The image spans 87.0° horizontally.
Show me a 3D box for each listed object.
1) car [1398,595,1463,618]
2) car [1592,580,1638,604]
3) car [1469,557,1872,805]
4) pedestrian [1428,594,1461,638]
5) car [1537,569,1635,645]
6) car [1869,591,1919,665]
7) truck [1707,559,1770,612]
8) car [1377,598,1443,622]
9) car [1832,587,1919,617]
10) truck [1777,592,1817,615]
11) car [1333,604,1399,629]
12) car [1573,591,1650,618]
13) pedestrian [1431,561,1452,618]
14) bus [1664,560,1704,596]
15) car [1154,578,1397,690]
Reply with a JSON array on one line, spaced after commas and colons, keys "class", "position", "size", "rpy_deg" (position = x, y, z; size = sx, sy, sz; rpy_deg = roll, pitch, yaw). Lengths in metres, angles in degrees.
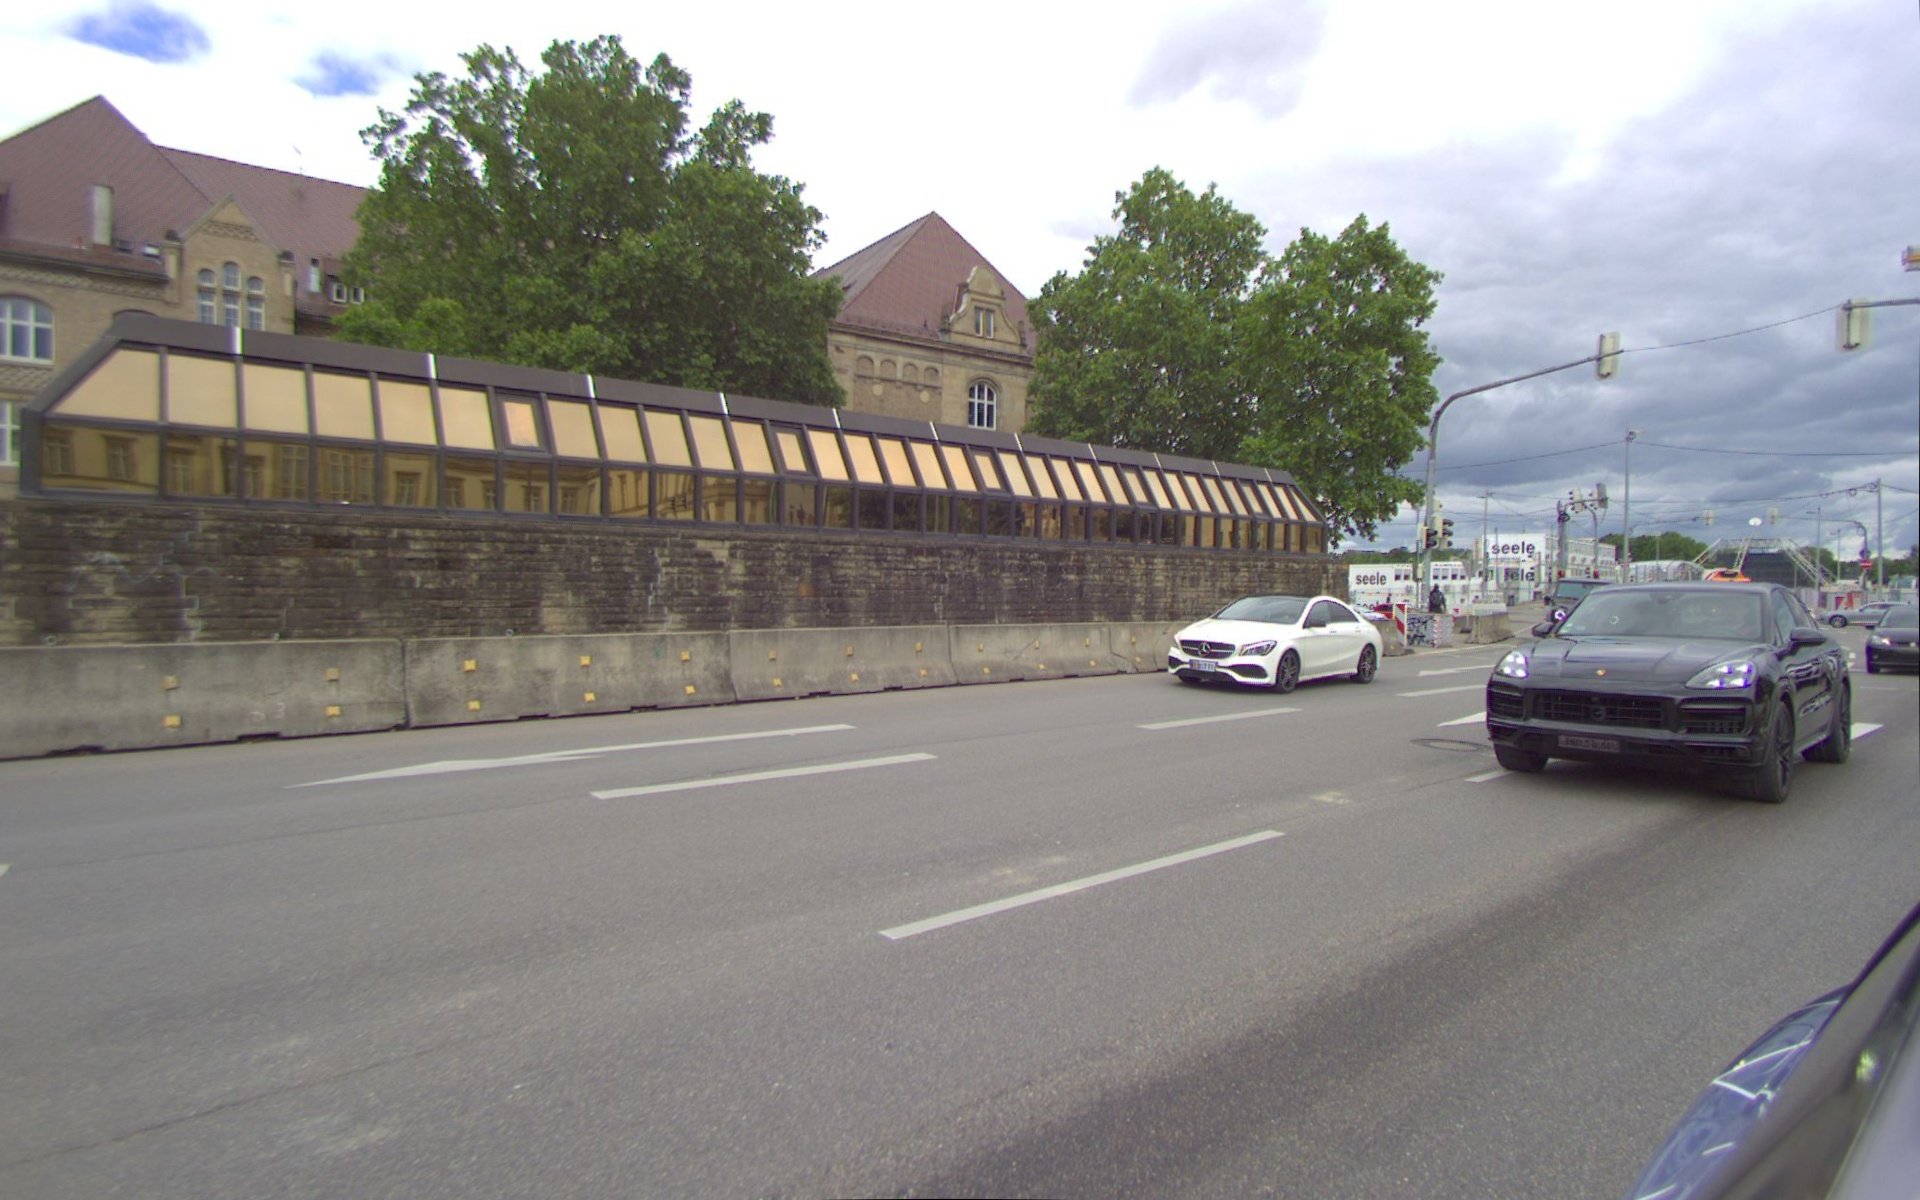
[{"class": "car", "position": [30.746, 0.414, 66.180], "size": [1.663, 1.453, 3.445], "rpy_deg": [-2, 1, -37]}, {"class": "car", "position": [58.743, -0.677, 90.763], "size": [4.085, 2.039, 2.000], "rpy_deg": [1, 0, -35]}, {"class": "car", "position": [6.515, 0.517, 9.068], "size": [4.528, 1.668, 1.954], "rpy_deg": [-1, 0, -41]}, {"class": "pedestrian", "position": [23.274, 0.754, 48.636], "size": [1.186, 2.039, 1.190], "rpy_deg": [0, 0, 13]}, {"class": "car", "position": [18.078, 0.173, 29.173], "size": [1.930, 1.961, 3.622], "rpy_deg": [4, 2, 38]}, {"class": "car", "position": [21.306, 0.571, 21.914], "size": [4.339, 1.488, 1.733], "rpy_deg": [0, 2, -39]}, {"class": "truck", "position": [58.458, -1.110, 76.169], "size": [2.890, 3.721, 8.921], "rpy_deg": [1, 1, 33]}, {"class": "car", "position": [28.570, 0.604, 64.275], "size": [1.660, 1.453, 3.445], "rpy_deg": [-1, 1, -37]}, {"class": "car", "position": [50.462, 0.119, 54.864], "size": [1.880, 1.599, 4.669], "rpy_deg": [0, 0, -45]}, {"class": "truck", "position": [59.648, 0.221, 72.131], "size": [1.814, 1.559, 3.714], "rpy_deg": [1, 0, 34]}, {"class": "car", "position": [25.341, 1.035, 63.299], "size": [1.636, 1.453, 3.443], "rpy_deg": [-2, 0, -39]}, {"class": "car", "position": [41.471, 0.270, 64.467], "size": [3.939, 1.594, 1.666], "rpy_deg": [1, -2, 42]}, {"class": "pedestrian", "position": [17.549, -0.383, 36.883], "size": [0.615, 2.039, 0.844], "rpy_deg": [-1, 0, 22]}, {"class": "bus", "position": [69.433, -2.058, 97.002], "size": [2.798, 3.209, 9.274], "rpy_deg": [2, 0, 37]}, {"class": "car", "position": [5.033, 0.451, 15.817], "size": [4.308, 1.453, 1.736], "rpy_deg": [0, 3, -44]}]
